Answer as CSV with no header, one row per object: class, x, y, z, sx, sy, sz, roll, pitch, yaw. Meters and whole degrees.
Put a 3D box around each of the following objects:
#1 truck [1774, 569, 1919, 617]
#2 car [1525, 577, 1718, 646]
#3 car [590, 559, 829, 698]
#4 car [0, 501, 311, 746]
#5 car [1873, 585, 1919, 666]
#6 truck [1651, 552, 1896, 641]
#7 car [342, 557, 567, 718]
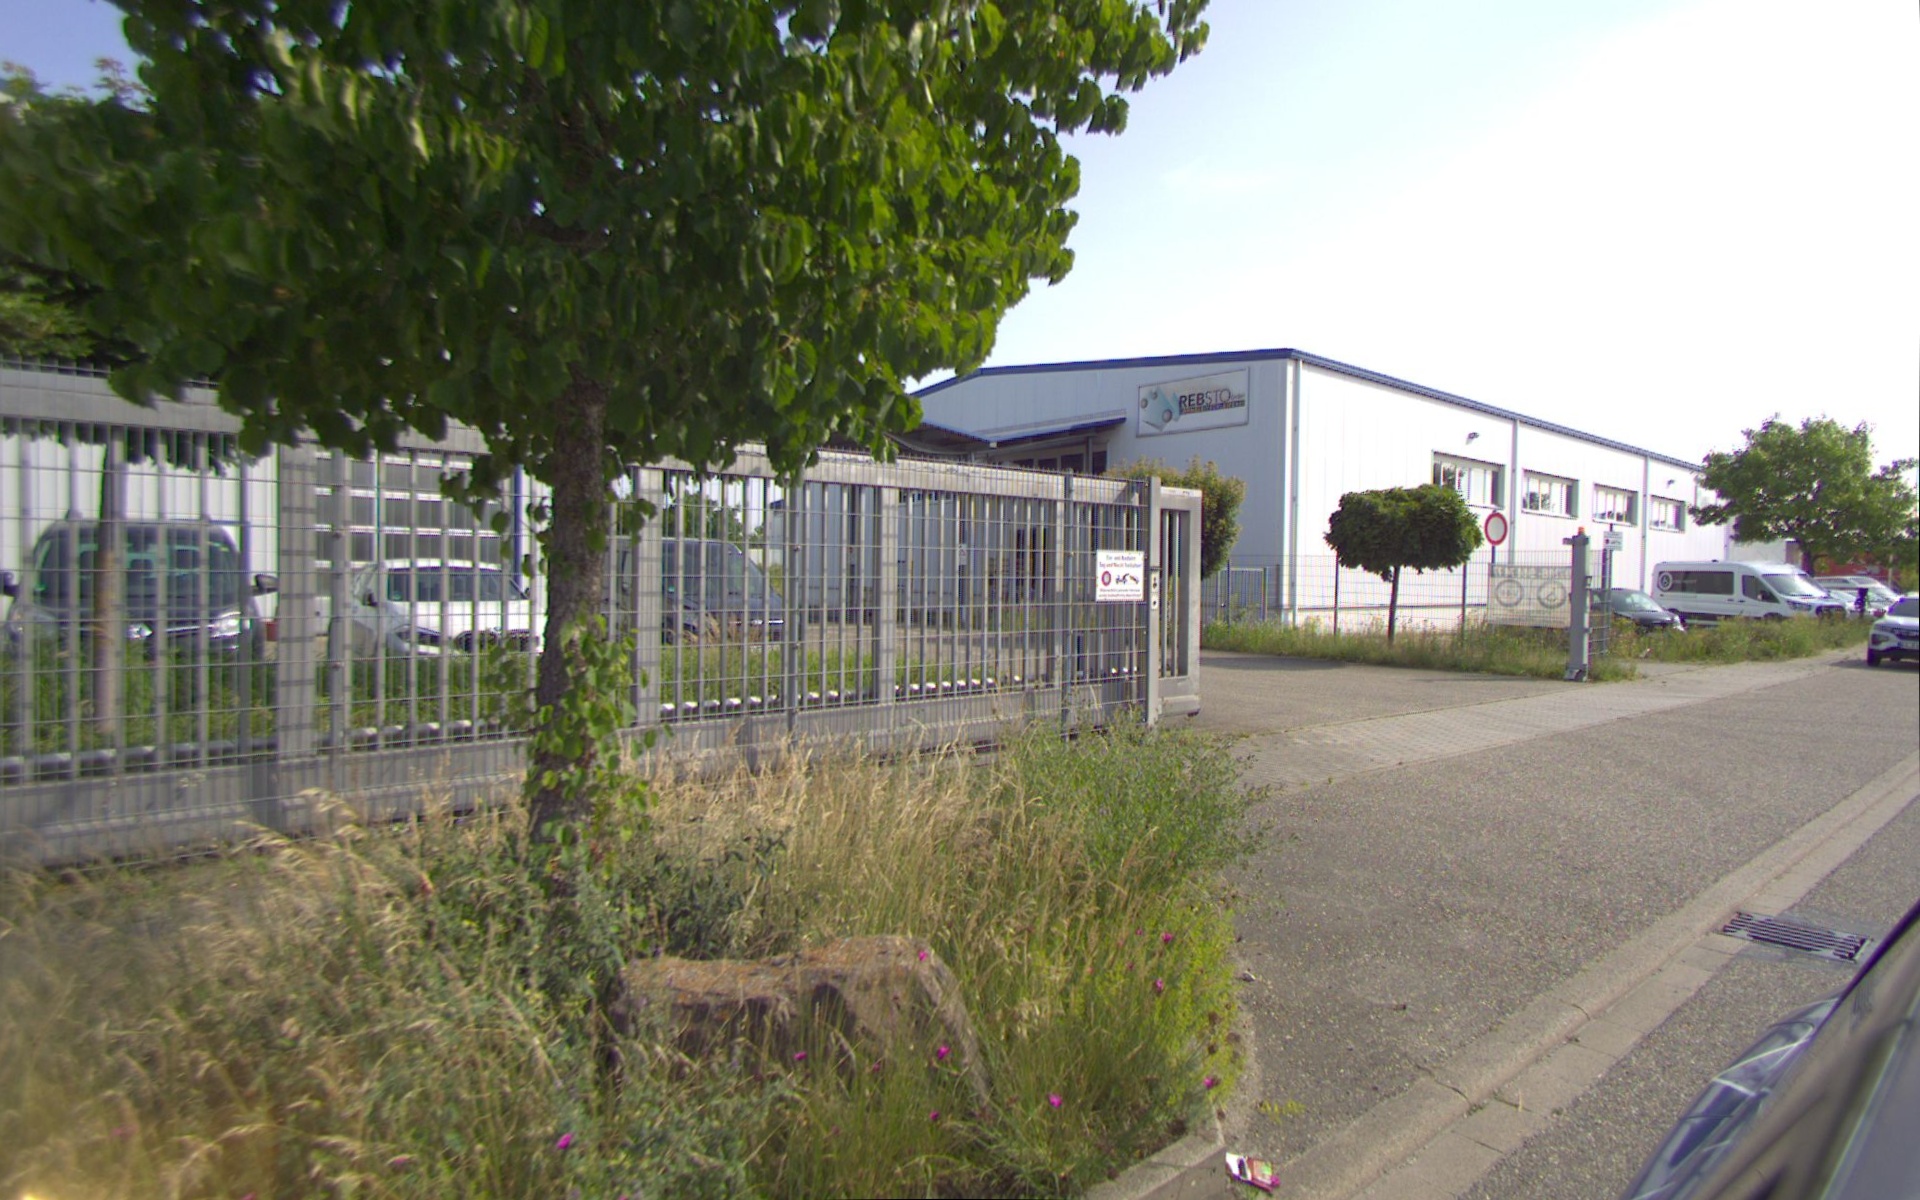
truck,41.039,-0.371,46.564,2.231,2.046,5.836,1,1,-3
car,16.017,0.222,24.803,1.860,1.516,4.005,1,1,-4
car,-3.335,0.238,12.905,1.621,1.479,4.021,0,2,-35
car,-7.727,0.097,9.489,1.967,1.743,4.489,-1,2,-44
car,19.940,0.502,20.506,3.479,1.522,1.668,-1,4,-41
truck,25.590,-0.218,32.289,2.229,2.561,6.222,1,2,-7
car,-5.866,0.286,11.484,1.720,1.479,4.021,0,2,-35
